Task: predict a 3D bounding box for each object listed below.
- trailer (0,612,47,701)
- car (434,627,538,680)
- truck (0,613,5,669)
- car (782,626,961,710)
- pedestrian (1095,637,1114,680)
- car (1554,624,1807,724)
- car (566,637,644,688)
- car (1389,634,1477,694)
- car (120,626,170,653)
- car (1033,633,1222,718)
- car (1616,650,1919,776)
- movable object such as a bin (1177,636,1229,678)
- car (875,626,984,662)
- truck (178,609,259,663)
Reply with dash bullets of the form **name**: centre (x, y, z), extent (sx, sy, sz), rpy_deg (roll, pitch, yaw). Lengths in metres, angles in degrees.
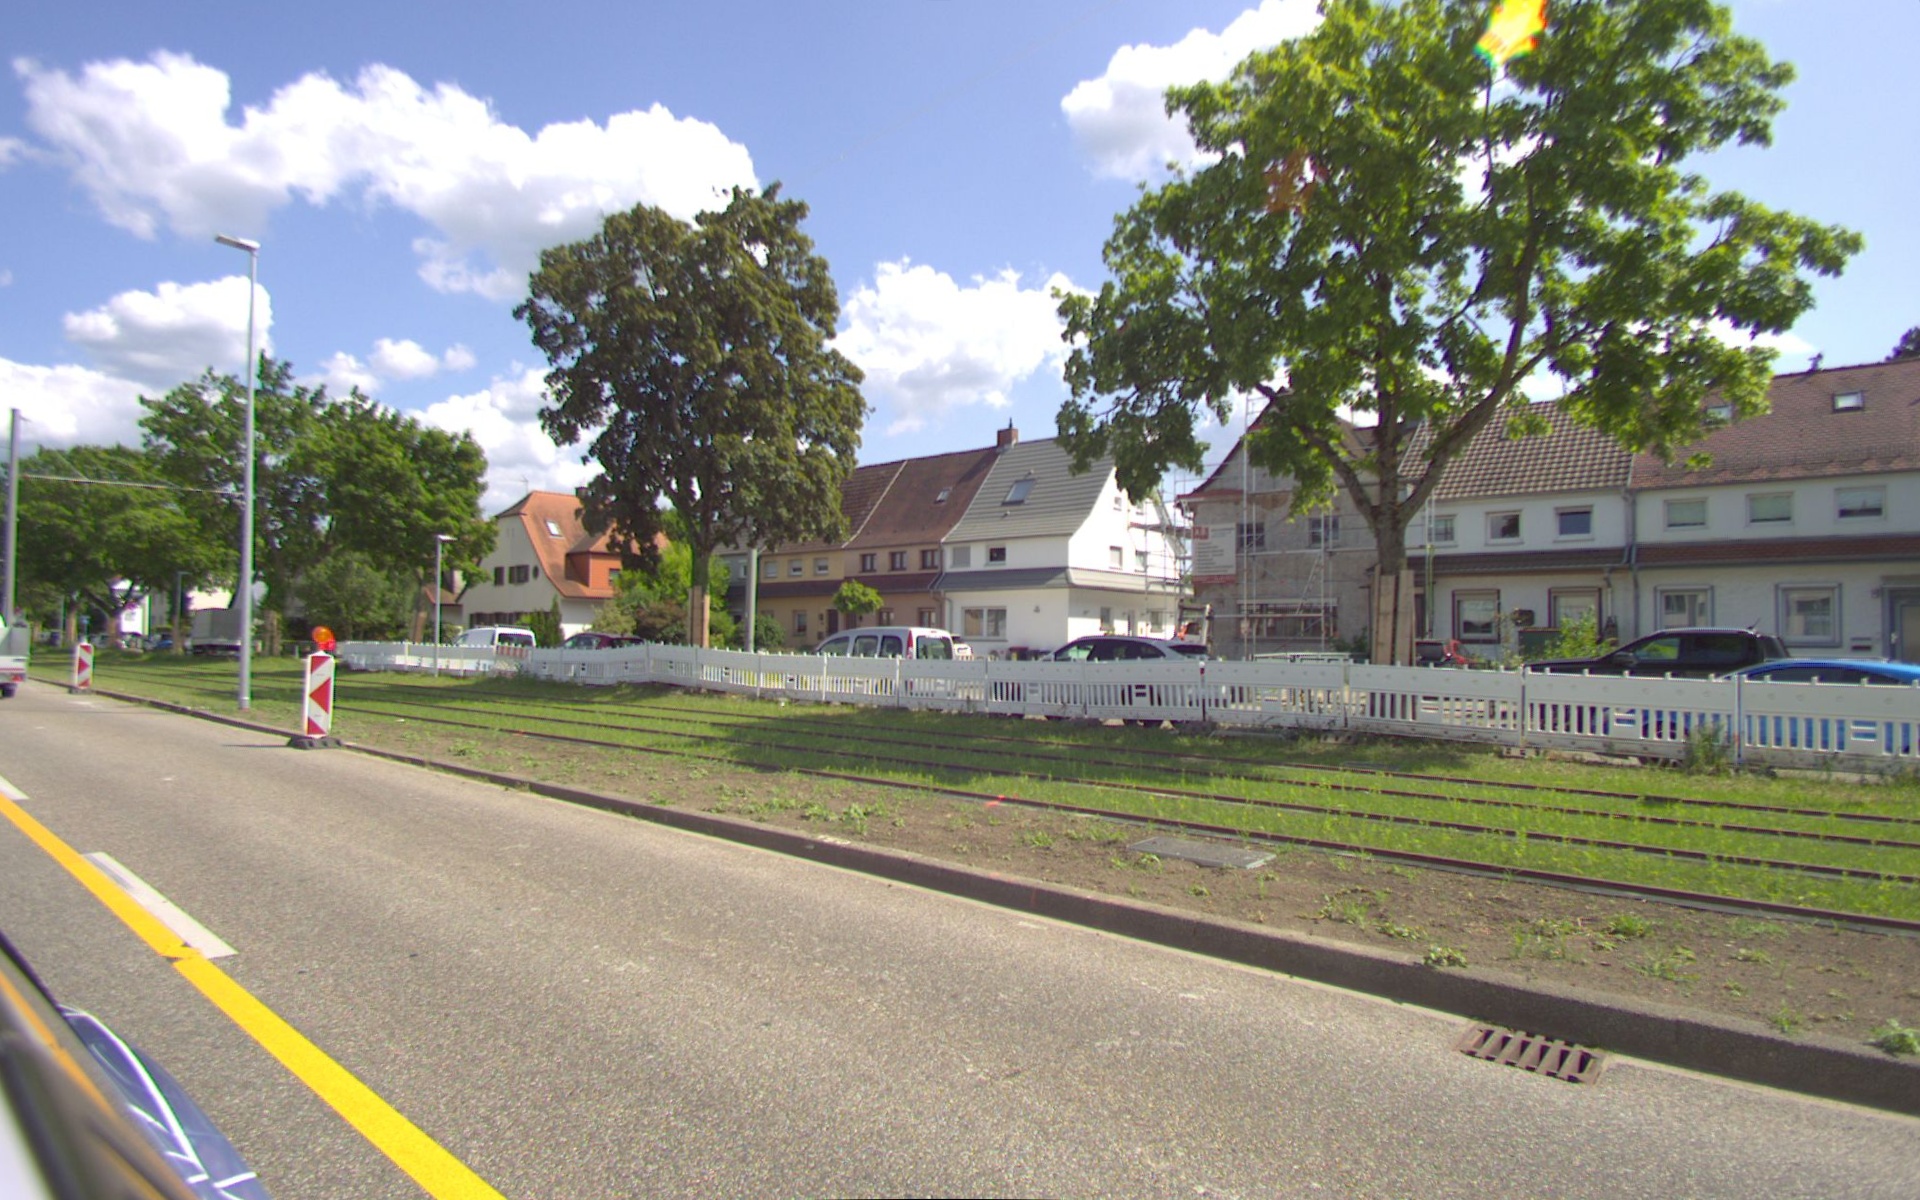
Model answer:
- **trailer**: centre (-22.381, 1.185, 22.689), extent (5.481, 1.849, 2.041), rpy_deg (-1, -5, 40)
- **car**: centre (-15.983, 1.779, 34.041), extent (3.998, 1.638, 1.636), rpy_deg (-1, -4, 41)
- **truck**: centre (-25.406, 1.222, 25.101), extent (5.112, 1.924, 1.801), rpy_deg (0, -4, 40)
- **car**: centre (-1.992, 1.431, 22.189), extent (3.897, 1.664, 1.606), rpy_deg (-1, -4, 41)
- **pedestrian**: centre (4.715, 1.893, 32.974), extent (0.471, 1.386, 0.418), rpy_deg (-1, -1, 40)
- **car**: centre (11.900, 1.171, 16.828), extent (3.308, 1.507, 1.369), rpy_deg (-2, -3, 40)
- **car**: centre (-10.073, 1.741, 28.645), extent (2.449, 1.358, 1.060), rpy_deg (-1, -4, 44)
- **car**: centre (12.297, 1.617, 26.246), extent (1.286, 1.390, 2.776), rpy_deg (-1, -1, 43)
- **car**: centre (-49.480, 2.379, 61.413), extent (3.928, 1.524, 1.651), rpy_deg (-1, -1, 40)
- **car**: centre (2.942, 1.318, 18.066), extent (3.112, 1.388, 1.336), rpy_deg (-2, -5, 41)
- **car**: centre (9.870, 1.281, 12.205), extent (3.166, 1.335, 1.327), rpy_deg (-2, -3, 38)
- **movable object such as a bin**: centre (7.547, 1.753, 31.535), extent (1.441, 1.207, 1.892), rpy_deg (-1, -1, 10)
- **car**: centre (-1.190, 1.644, 38.173), extent (4.118, 1.285, 1.518), rpy_deg (-1, -4, 41)
- **truck**: centre (-40.670, 1.922, 55.440), extent (5.947, 2.826, 2.340), rpy_deg (-1, -1, 41)
